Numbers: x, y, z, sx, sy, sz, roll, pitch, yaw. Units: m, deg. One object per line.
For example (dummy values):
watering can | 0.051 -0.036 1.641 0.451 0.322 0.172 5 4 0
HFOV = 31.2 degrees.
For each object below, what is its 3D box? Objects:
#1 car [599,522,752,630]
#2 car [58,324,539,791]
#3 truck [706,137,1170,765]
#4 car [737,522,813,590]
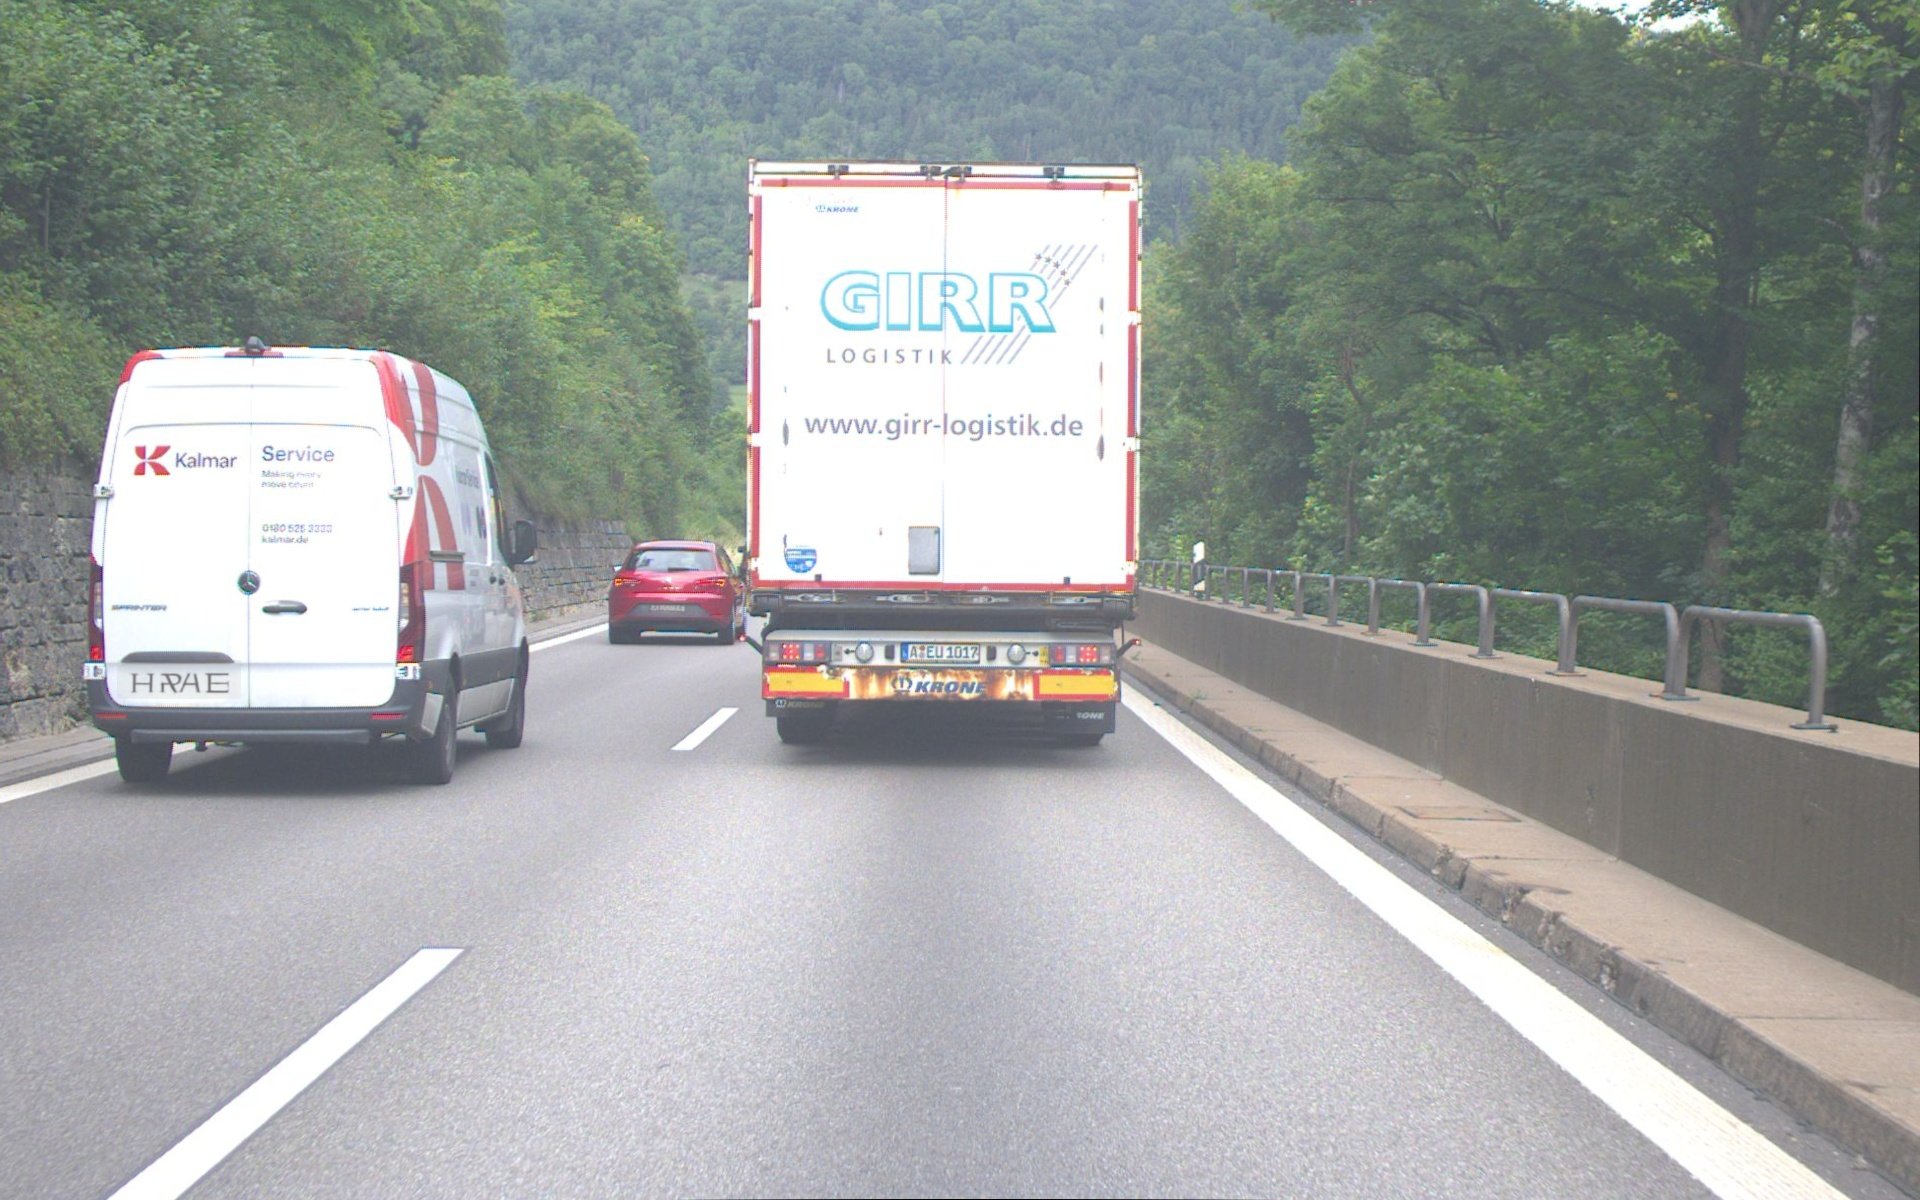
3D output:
car | -3.982 -0.348 48.724 1.766 1.455 4.411 0 1 1
car | -4.049 -0.273 22.197 2.026 2.576 6.275 0 1 -1
truck | -0.105 -1.007 26.312 2.909 3.947 9.279 0 1 0
car | -4.494 -1.072 84.007 1.669 1.633 4.068 0 1 0
